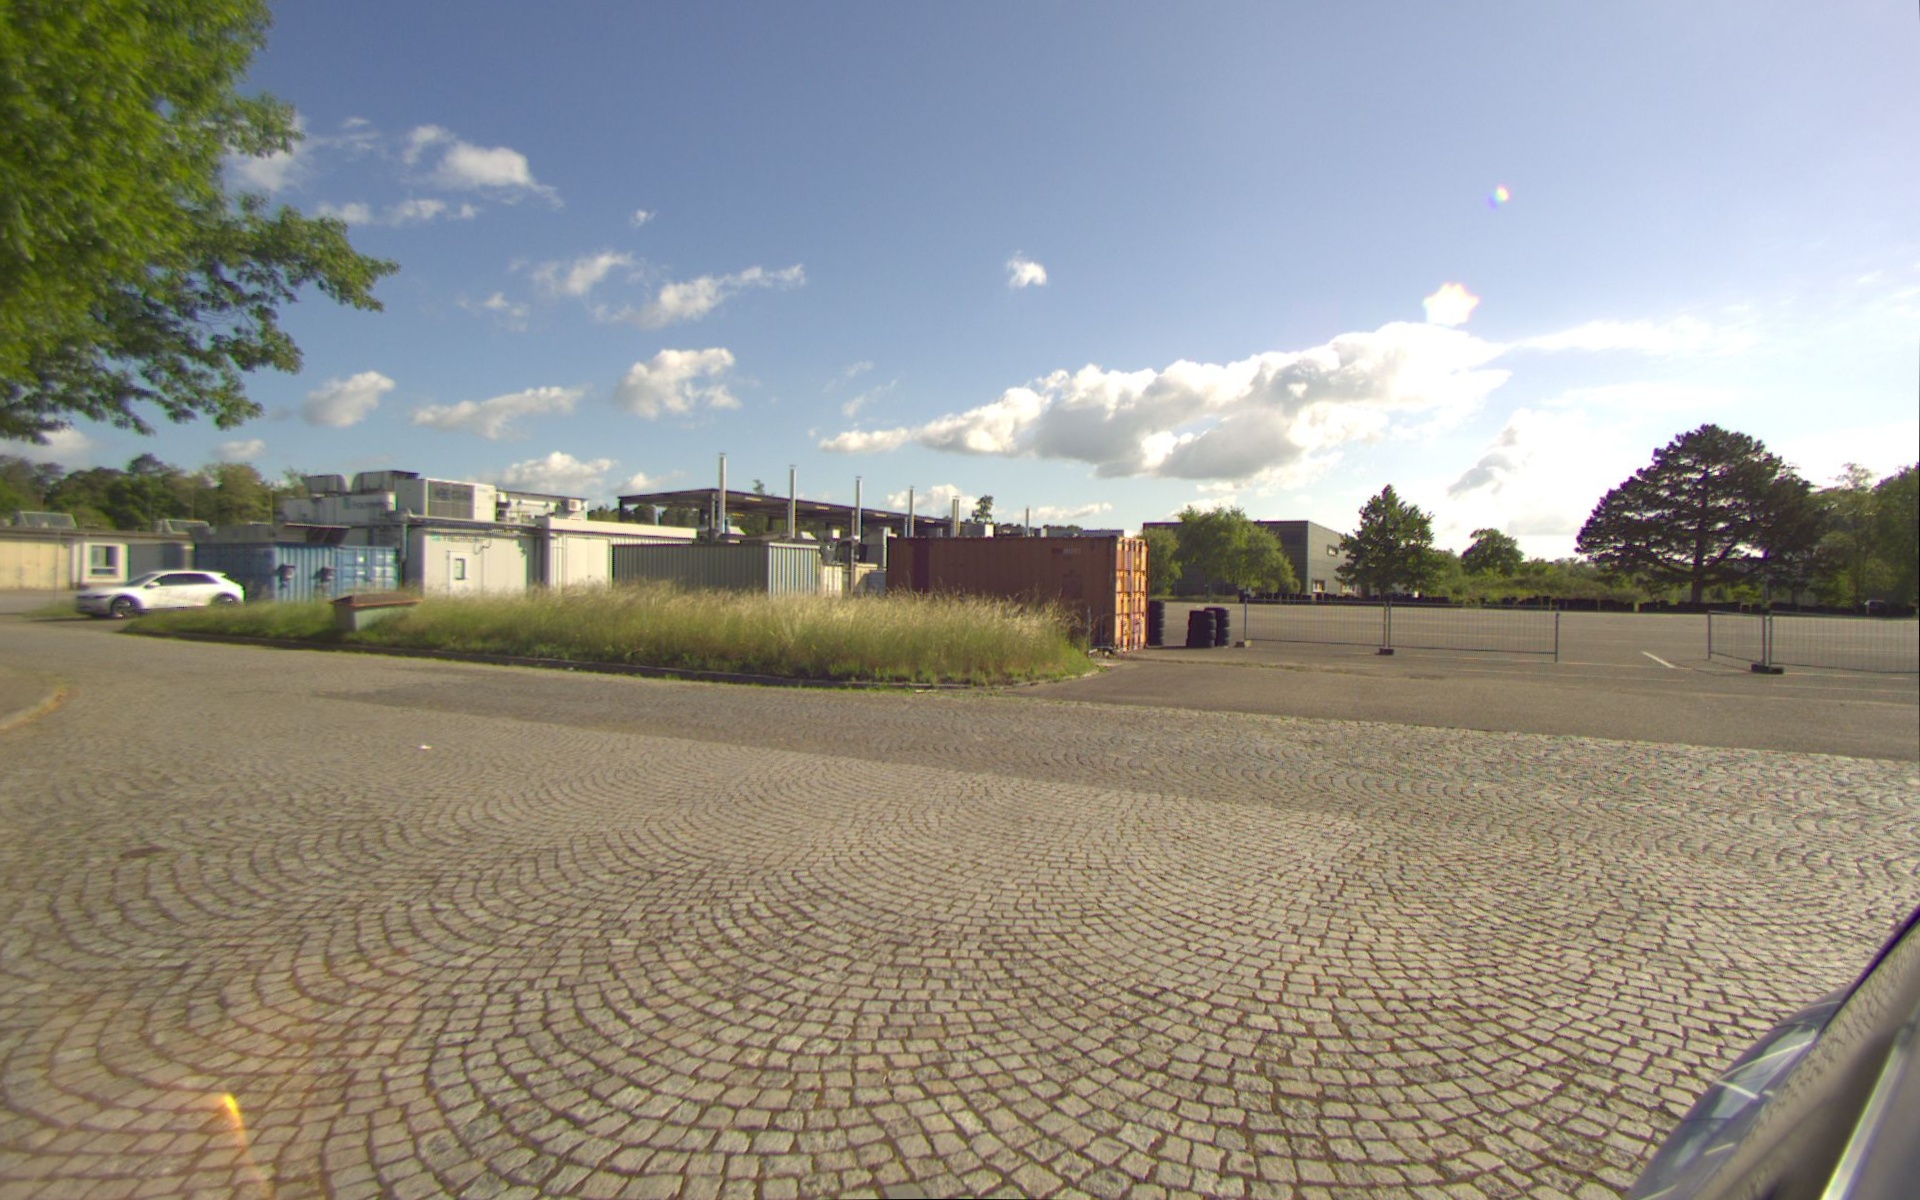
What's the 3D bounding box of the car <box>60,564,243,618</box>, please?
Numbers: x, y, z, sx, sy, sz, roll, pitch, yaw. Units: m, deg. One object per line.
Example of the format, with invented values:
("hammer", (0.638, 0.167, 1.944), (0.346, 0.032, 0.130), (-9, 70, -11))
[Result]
("car", (-27.465, -0.325, 34.565), (1.858, 1.698, 4.558), (1, 1, 28))
